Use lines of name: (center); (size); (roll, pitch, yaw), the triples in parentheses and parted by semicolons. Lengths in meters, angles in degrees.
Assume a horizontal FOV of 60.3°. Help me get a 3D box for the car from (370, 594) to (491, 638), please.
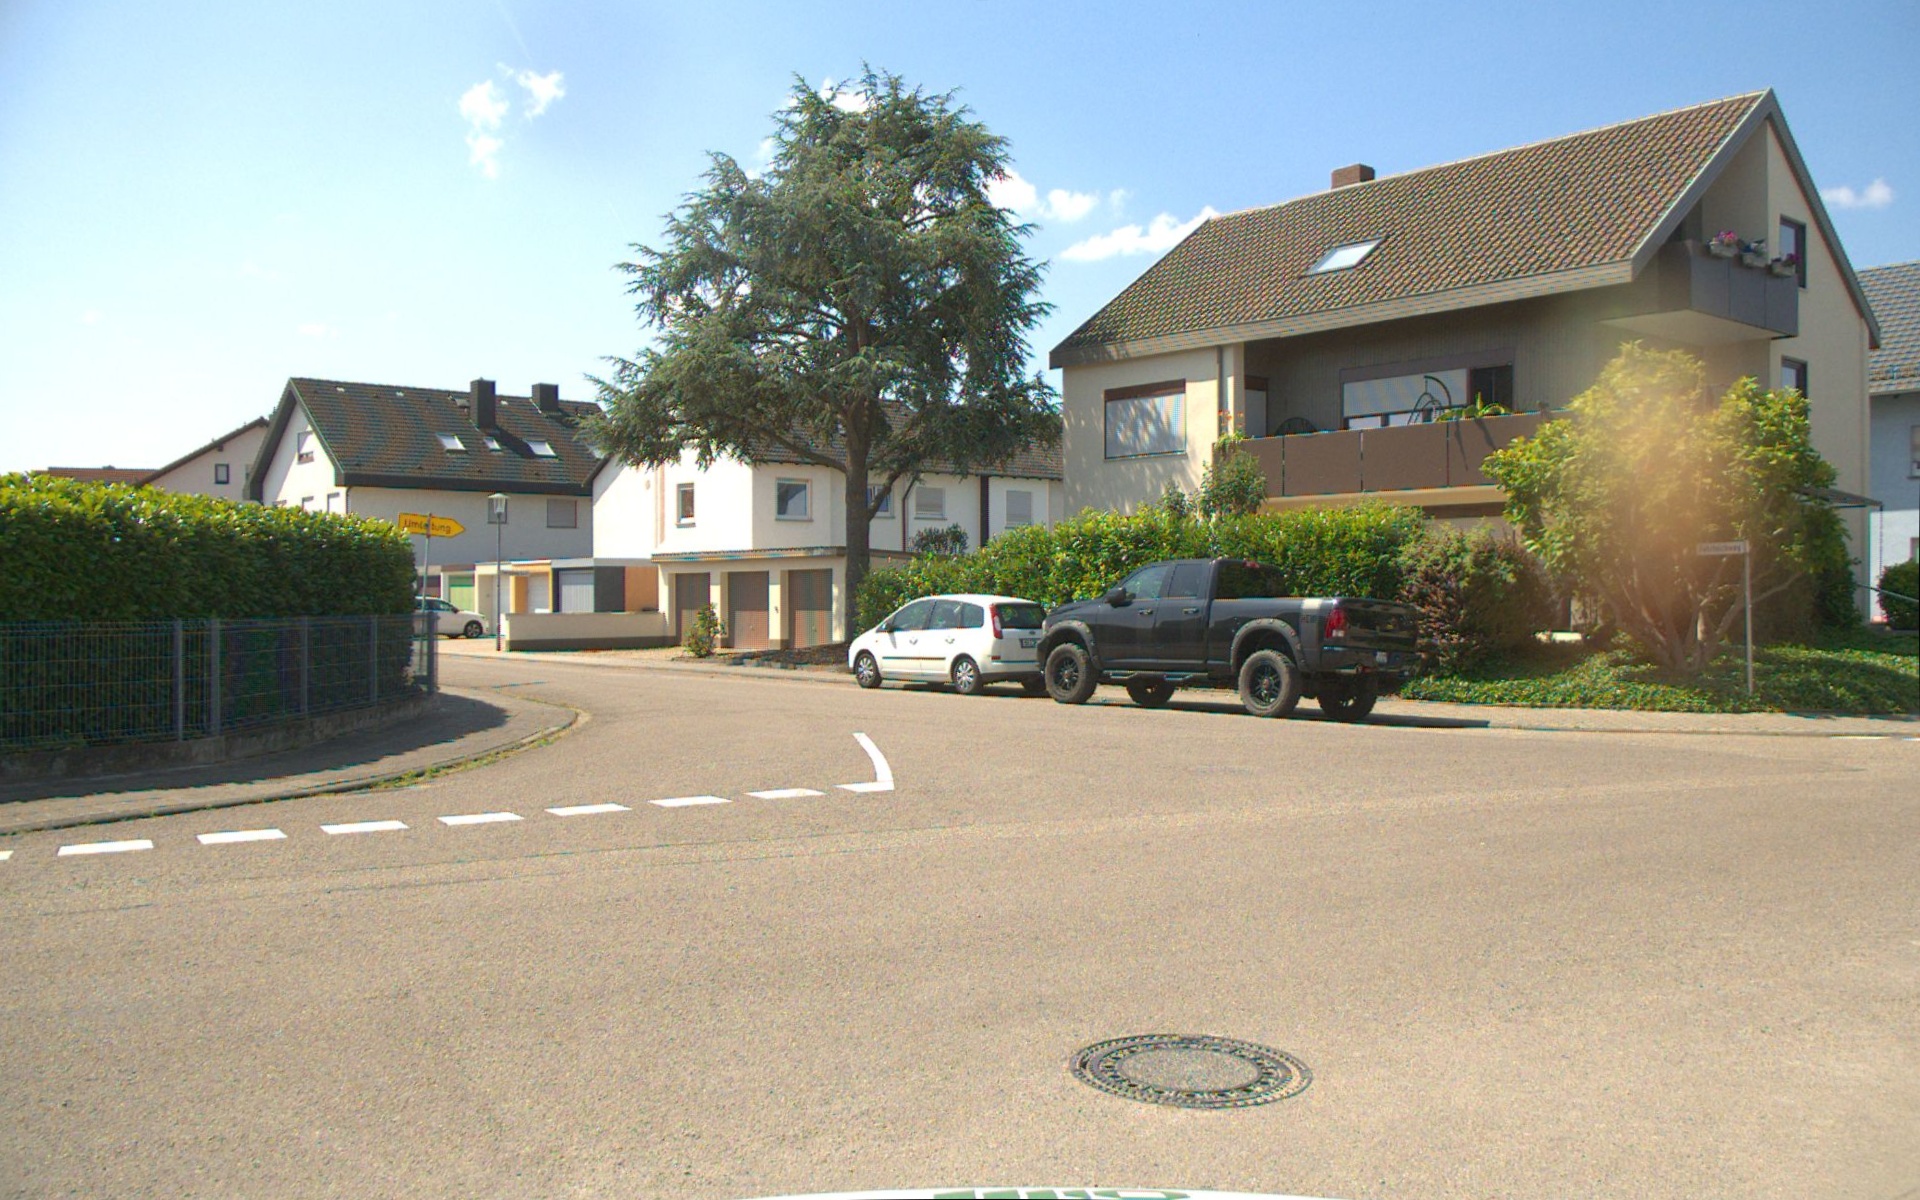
car: (-18.010, 0.532, 56.319); (3.579, 1.433, 1.757); (0, 0, -41)

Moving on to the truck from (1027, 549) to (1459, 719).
truck: (3.749, 0.437, 22.804); (2.353, 2.049, 5.621); (2, -1, -43)

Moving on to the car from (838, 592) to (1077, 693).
car: (-0.102, 0.661, 28.020); (1.789, 1.590, 4.078); (0, 0, -43)
